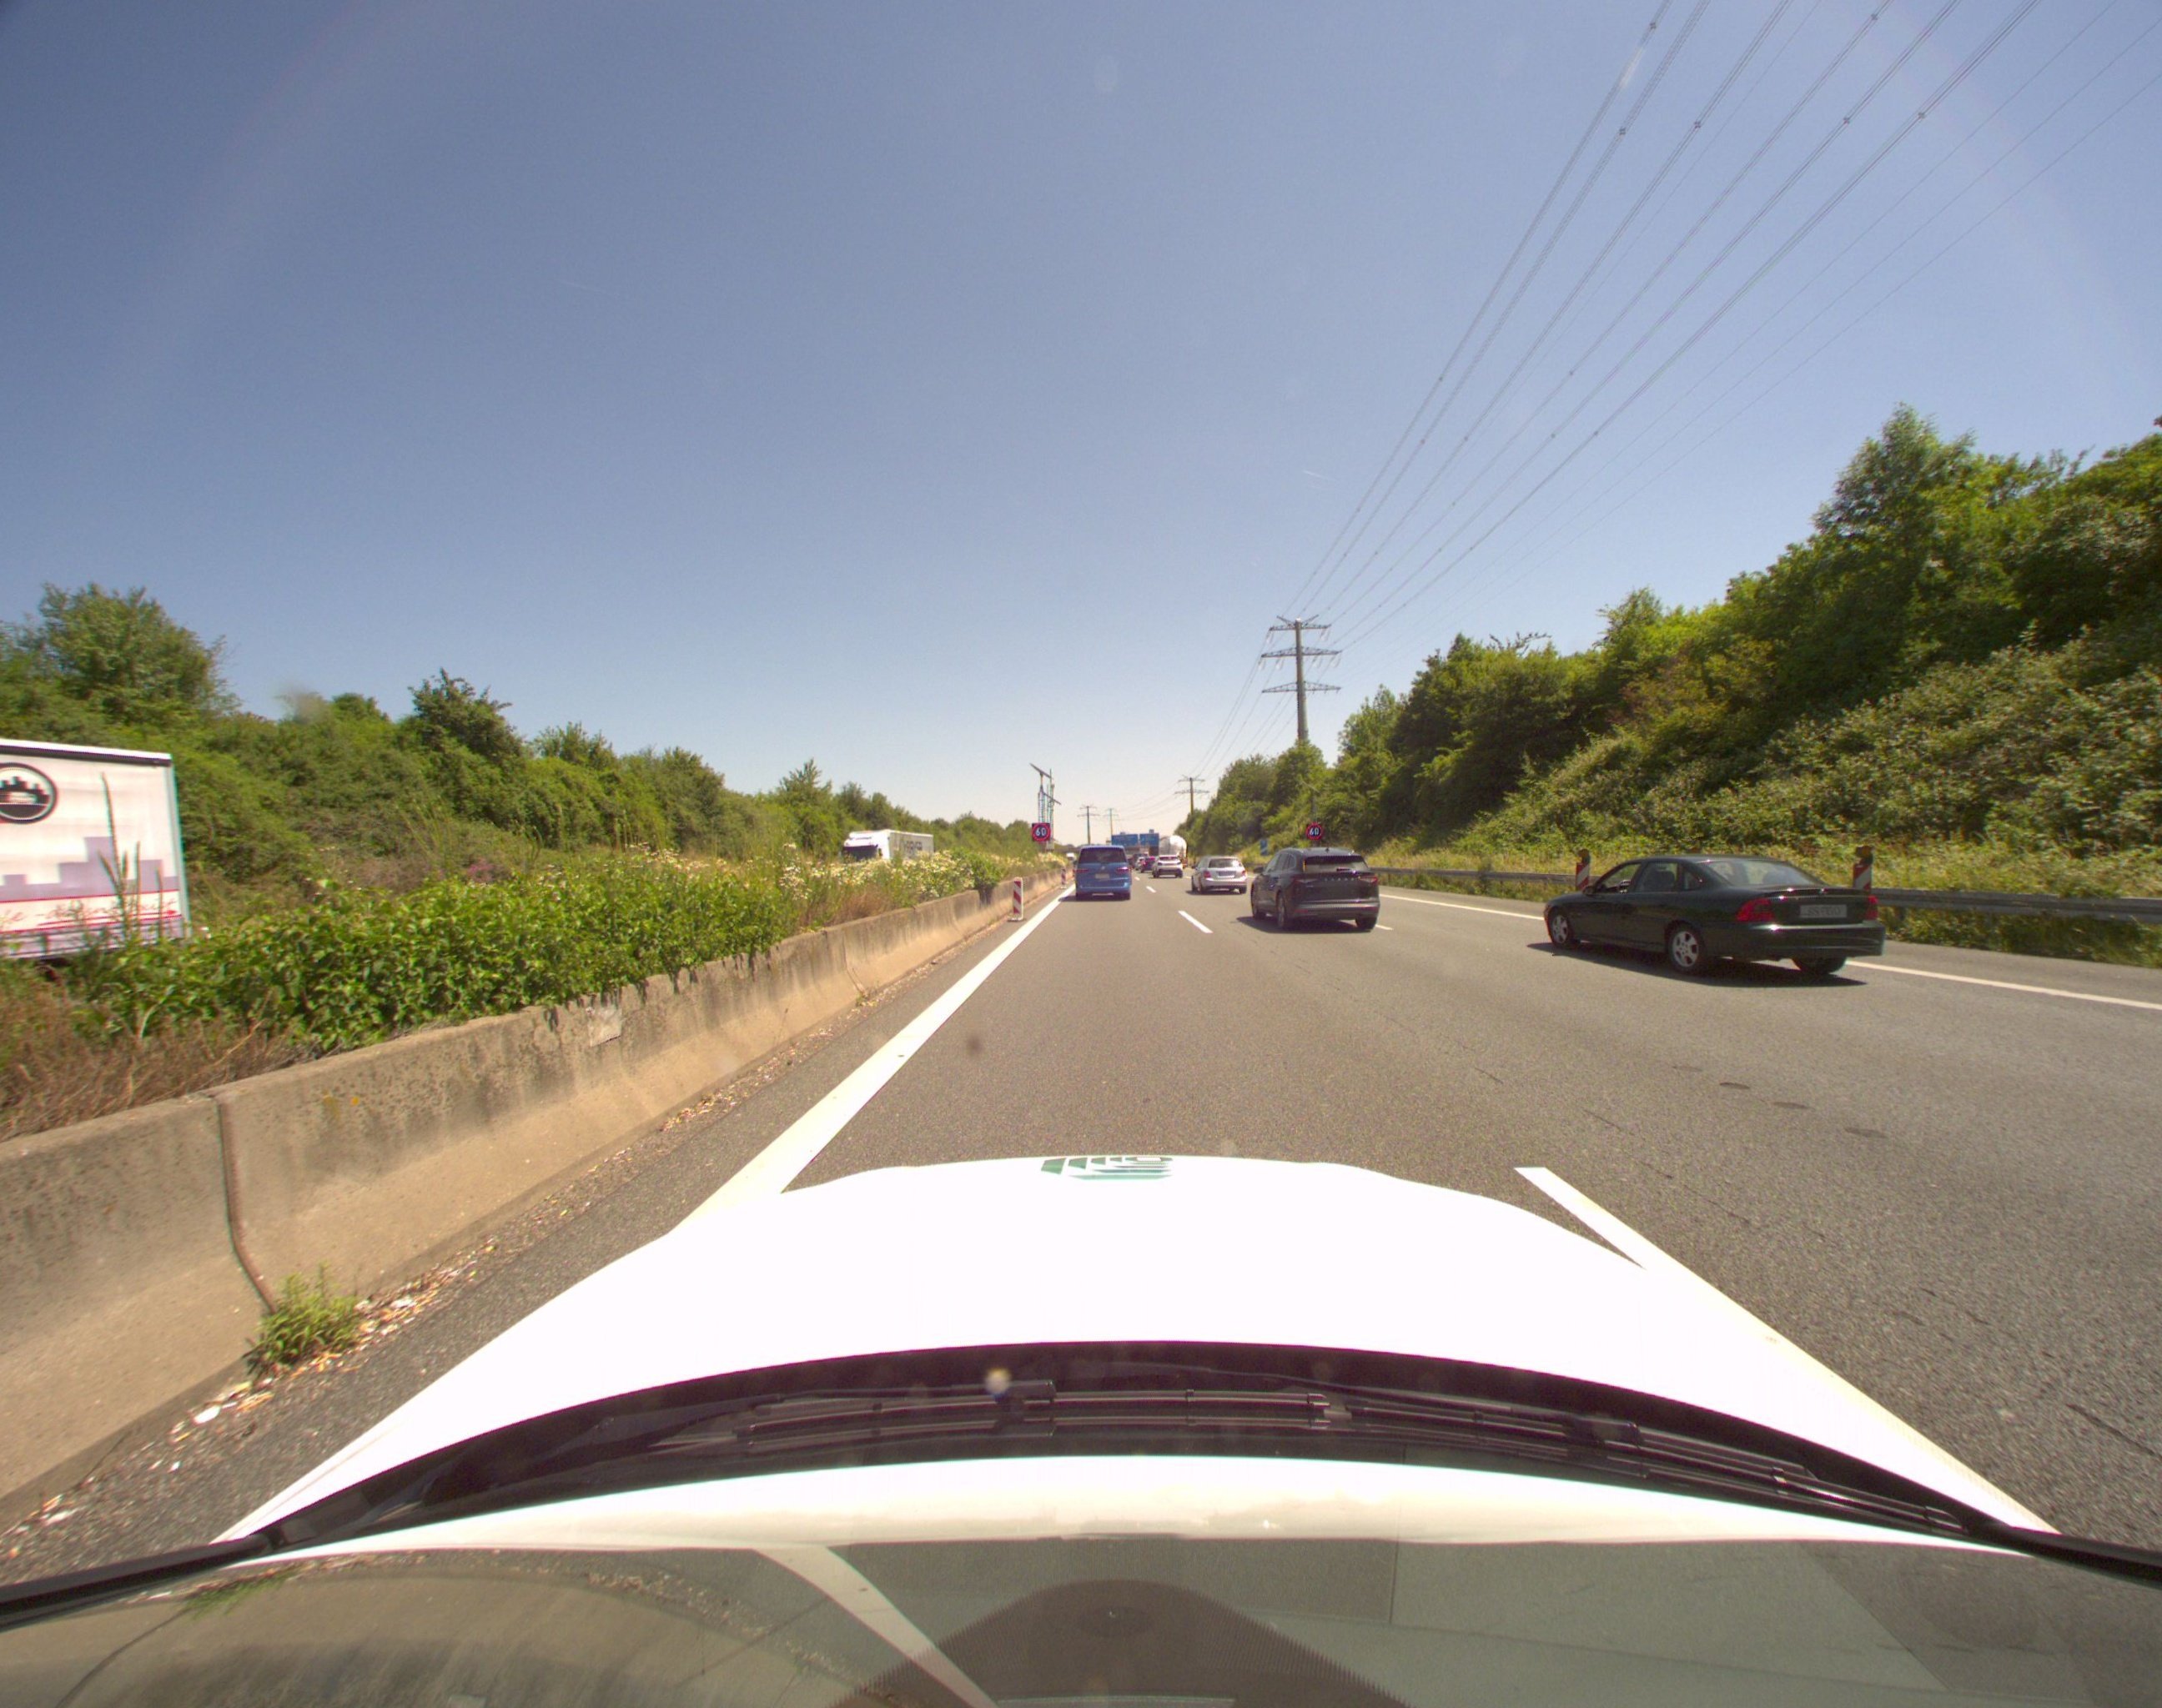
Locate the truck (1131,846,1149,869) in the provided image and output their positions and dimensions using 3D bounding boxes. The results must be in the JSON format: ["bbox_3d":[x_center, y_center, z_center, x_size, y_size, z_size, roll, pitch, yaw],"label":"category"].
[{"bbox_3d":[7.237,0.478,100.263,1.987,2.723,5.680,0,0,1],"label":"truck"}]

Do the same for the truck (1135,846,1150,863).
[{"bbox_3d":[15.814,0.246,209.820,2.928,4.291,12.552,0,0,1],"label":"truck"}]

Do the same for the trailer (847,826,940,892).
[{"bbox_3d":[-13.813,0.341,61.695,3.005,4.166,14.025,-5,0,2],"label":"trailer"}]

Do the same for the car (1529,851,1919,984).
[{"bbox_3d":[7.891,0.673,10.646,1.729,1.378,4.302,0,0,0],"label":"car"}]

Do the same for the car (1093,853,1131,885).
[{"bbox_3d":[1.608,0.781,43.939,1.902,1.631,4.384,-1,0,1],"label":"car"}]

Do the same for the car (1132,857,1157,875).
[{"bbox_3d":[5.735,1.060,73.841,1.902,1.516,4.383,0,0,0],"label":"car"}]

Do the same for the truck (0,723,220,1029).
[{"bbox_3d":[-15.145,0.367,8.289,2.753,3.888,9.031,-5,0,1],"label":"truck"}]

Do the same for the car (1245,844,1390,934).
[{"bbox_3d":[4.774,0.638,17.118,1.821,1.614,4.431,-1,0,1],"label":"car"}]

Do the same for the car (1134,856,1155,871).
[{"bbox_3d":[6.716,1.014,86.623,1.902,1.516,4.383,0,0,0],"label":"car"}]

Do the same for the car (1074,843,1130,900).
[{"bbox_3d":[0.682,0.598,29.260,1.865,1.879,4.382,0,0,0],"label":"car"}]

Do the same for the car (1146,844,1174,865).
[{"bbox_3d":[6.370,0.044,66.033,1.902,1.569,4.383,0,0,0],"label":"car"}]

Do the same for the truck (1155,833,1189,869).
[{"bbox_3d":[11.035,-0.272,100.665,2.635,4.072,16.442,0,0,1],"label":"truck"}]

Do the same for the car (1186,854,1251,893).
[{"bbox_3d":[5.292,0.726,31.961,1.815,1.437,4.383,0,0,0],"label":"car"}]

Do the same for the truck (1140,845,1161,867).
[{"bbox_3d":[11.814,0.405,138.731,2.635,3.539,12.552,0,0,1],"label":"truck"}]

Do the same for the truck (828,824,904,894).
[{"bbox_3d":[-14.083,0.307,53.809,3.005,4.166,5.807,-5,0,2],"label":"truck"}]

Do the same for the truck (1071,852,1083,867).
[{"bbox_3d":[-1.007,1.423,219.271,2.753,3.888,9.031,-5,0,1],"label":"truck"}]

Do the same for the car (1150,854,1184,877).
[{"bbox_3d":[5.792,0.755,55.256,1.902,1.508,3.921,0,0,0],"label":"car"}]

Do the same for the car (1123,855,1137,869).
[{"bbox_3d":[7.577,1.217,125.216,1.987,2.014,4.000,0,0,1],"label":"car"}]
